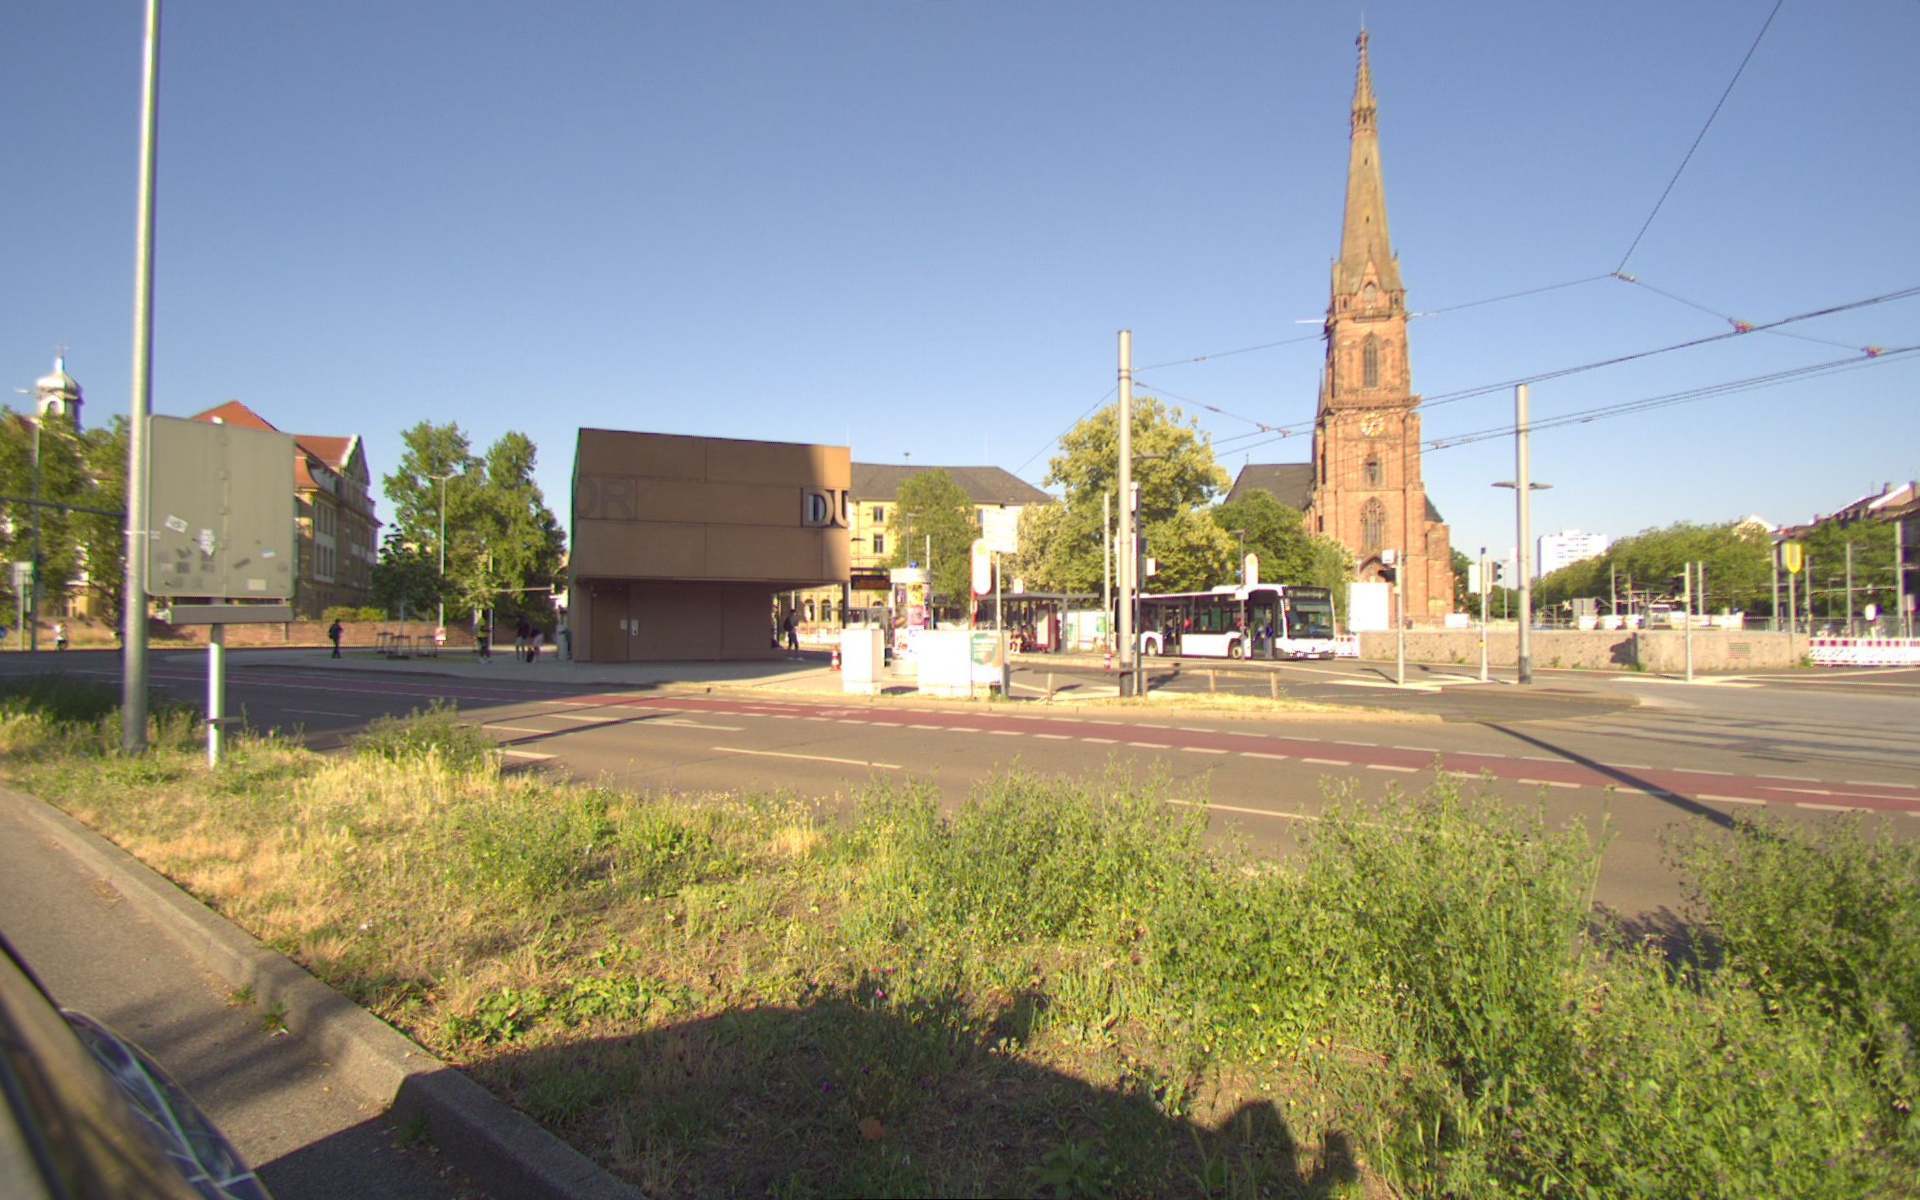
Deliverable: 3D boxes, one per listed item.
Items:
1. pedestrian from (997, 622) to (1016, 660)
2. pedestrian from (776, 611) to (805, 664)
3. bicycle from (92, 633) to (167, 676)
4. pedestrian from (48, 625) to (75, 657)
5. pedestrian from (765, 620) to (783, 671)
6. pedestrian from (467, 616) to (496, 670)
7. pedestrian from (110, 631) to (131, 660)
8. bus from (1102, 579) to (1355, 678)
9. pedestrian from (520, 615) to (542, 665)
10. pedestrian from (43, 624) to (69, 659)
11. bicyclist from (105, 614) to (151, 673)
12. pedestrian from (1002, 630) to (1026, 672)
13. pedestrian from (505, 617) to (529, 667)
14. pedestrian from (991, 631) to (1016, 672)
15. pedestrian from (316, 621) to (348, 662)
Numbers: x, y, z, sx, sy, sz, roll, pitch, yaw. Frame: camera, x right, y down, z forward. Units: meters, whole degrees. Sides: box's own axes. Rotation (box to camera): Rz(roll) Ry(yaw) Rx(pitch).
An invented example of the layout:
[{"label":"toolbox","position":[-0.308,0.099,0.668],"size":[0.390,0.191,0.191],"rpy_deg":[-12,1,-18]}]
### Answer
[{"label":"pedestrian","position":[2.433,2.164,53.085],"size":[0.802,1.997,0.757],"rpy_deg":[1,-3,-20]},{"label":"pedestrian","position":[-6.440,1.436,38.458],"size":[0.964,1.997,0.721],"rpy_deg":[1,-3,-22]},{"label":"bicycle","position":[-26.208,1.701,31.940],"size":[2.540,1.265,0.736],"rpy_deg":[0,-1,24]},{"label":"pedestrian","position":[-50.072,2.276,56.398],"size":[0.710,1.687,0.864],"rpy_deg":[3,0,29]},{"label":"pedestrian","position":[-7.479,1.827,40.675],"size":[0.604,2.029,0.809],"rpy_deg":[-2,-2,-12]},{"label":"pedestrian","position":[-16.586,1.494,35.089],"size":[0.639,1.849,0.708],"rpy_deg":[-4,-3,42]},{"label":"pedestrian","position":[-48.860,2.654,58.873],"size":[0.780,1.665,0.715],"rpy_deg":[3,0,-32]},{"label":"bus","position":[10.447,0.979,41.716],"size":[3.194,3.342,12.228],"rpy_deg":[4,-1,-22]},{"label":"pedestrian","position":[-15.432,1.436,36.405],"size":[0.723,1.744,0.667],"rpy_deg":[-1,-2,-23]},{"label":"pedestrian","position":[-50.759,2.317,56.838],"size":[0.710,1.908,0.864],"rpy_deg":[3,0,29]},{"label":"bicyclist","position":[-26.271,1.355,31.964],"size":[1.007,1.846,0.736],"rpy_deg":[0,-1,23]},{"label":"pedestrian","position":[2.590,2.467,48.589],"size":[0.964,1.997,0.721],"rpy_deg":[1,-3,-20]},{"label":"pedestrian","position":[-15.489,1.472,35.395],"size":[0.628,1.702,0.551],"rpy_deg":[0,-3,-35]},{"label":"pedestrian","position":[2.176,2.545,50.311],"size":[0.979,1.997,0.831],"rpy_deg":[1,-3,-20]},{"label":"pedestrian","position":[-26.628,1.755,42.906],"size":[0.745,1.698,0.890],"rpy_deg":[-2,-2,31]}]
